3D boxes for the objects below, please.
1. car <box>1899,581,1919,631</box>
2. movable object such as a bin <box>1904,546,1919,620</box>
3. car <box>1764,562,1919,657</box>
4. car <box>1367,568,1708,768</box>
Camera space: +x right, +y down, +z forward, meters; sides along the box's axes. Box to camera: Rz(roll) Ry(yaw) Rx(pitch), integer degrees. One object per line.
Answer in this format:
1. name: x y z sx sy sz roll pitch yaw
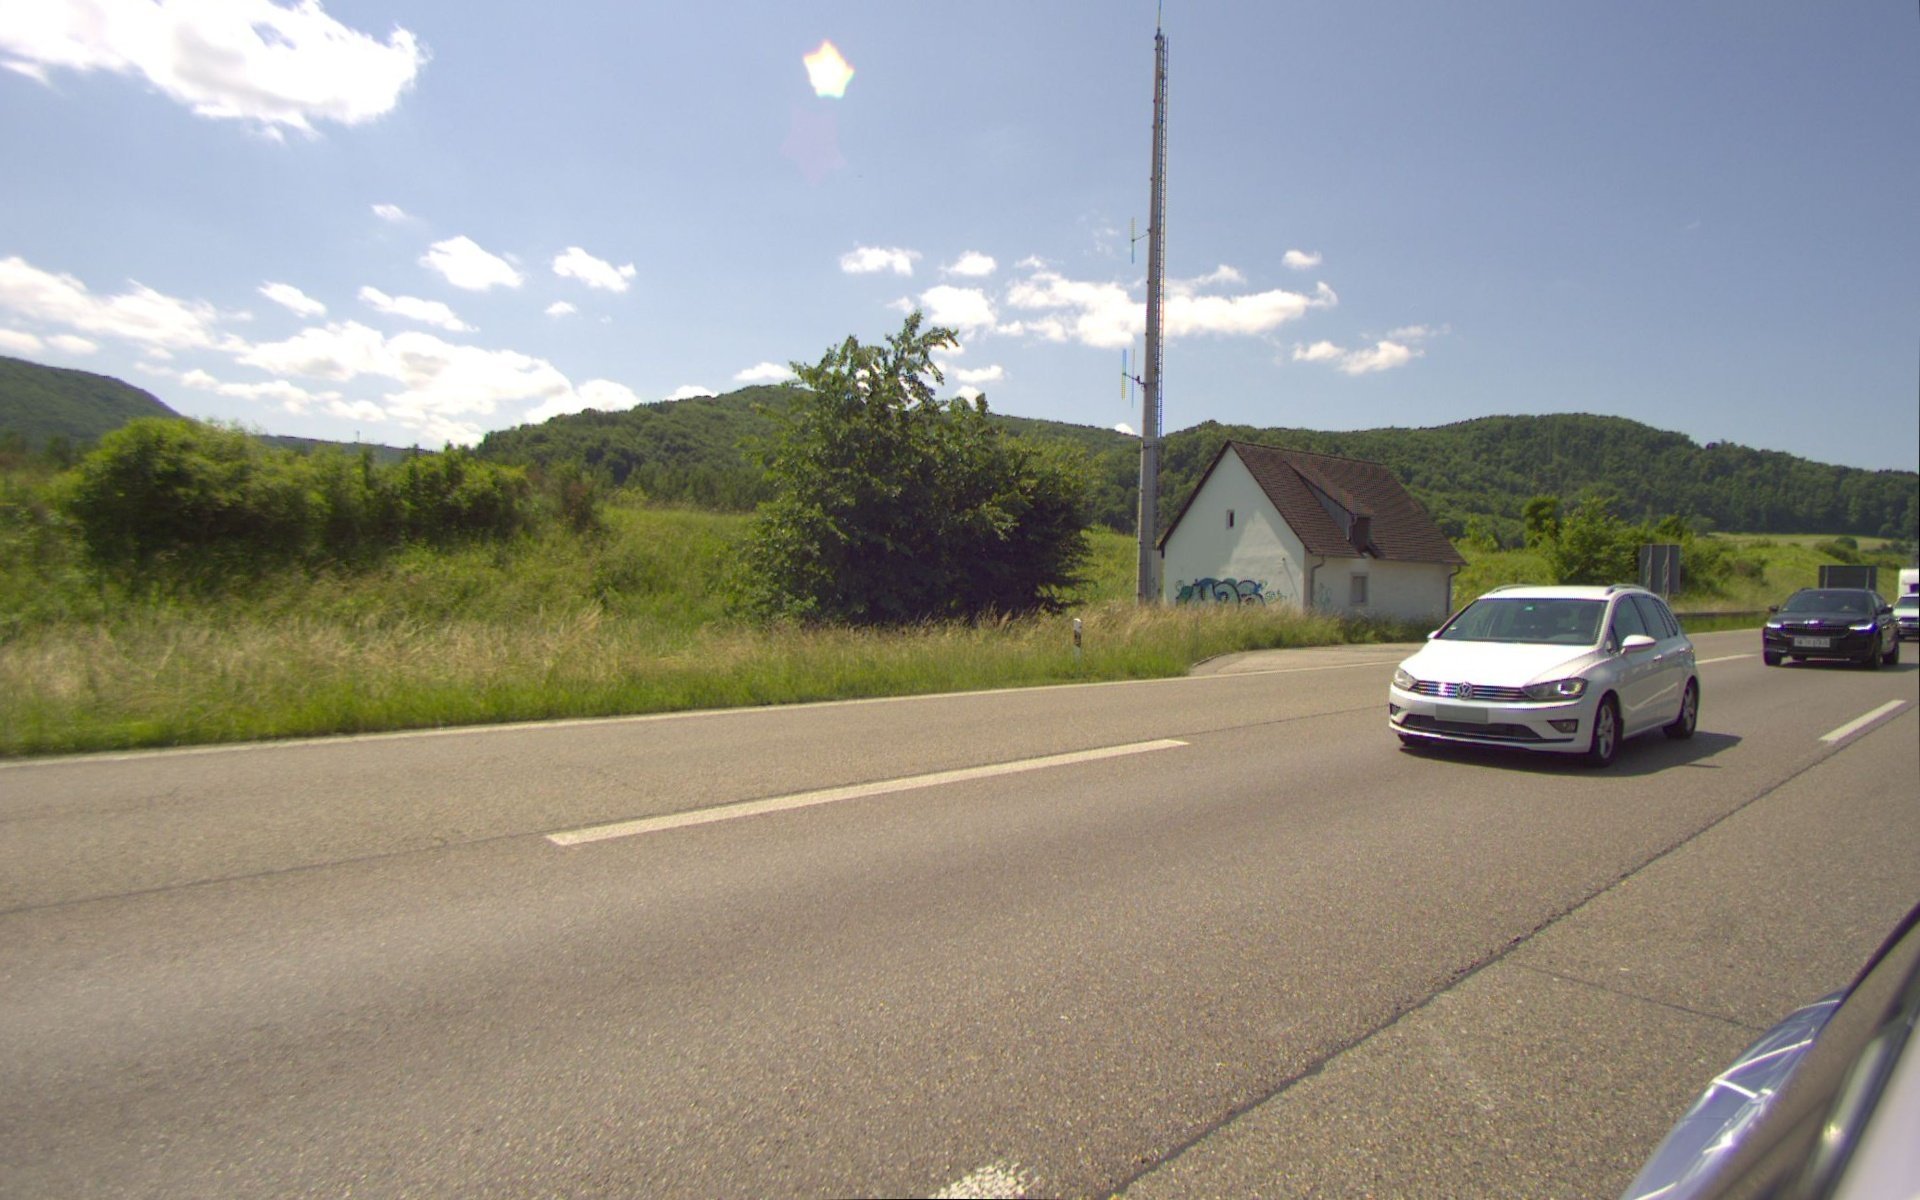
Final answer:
1. car: 32.410 0.179 33.275 3.930 1.603 1.820 0 1 -40
2. movable object such as a bin: 37.435 -0.624 37.782 6.590 2.665 2.480 0 1 -40
3. car: 18.678 0.147 21.341 4.097 1.794 1.893 0 2 -40
4. car: 5.776 0.503 9.918 3.985 1.560 1.775 0 1 -42
